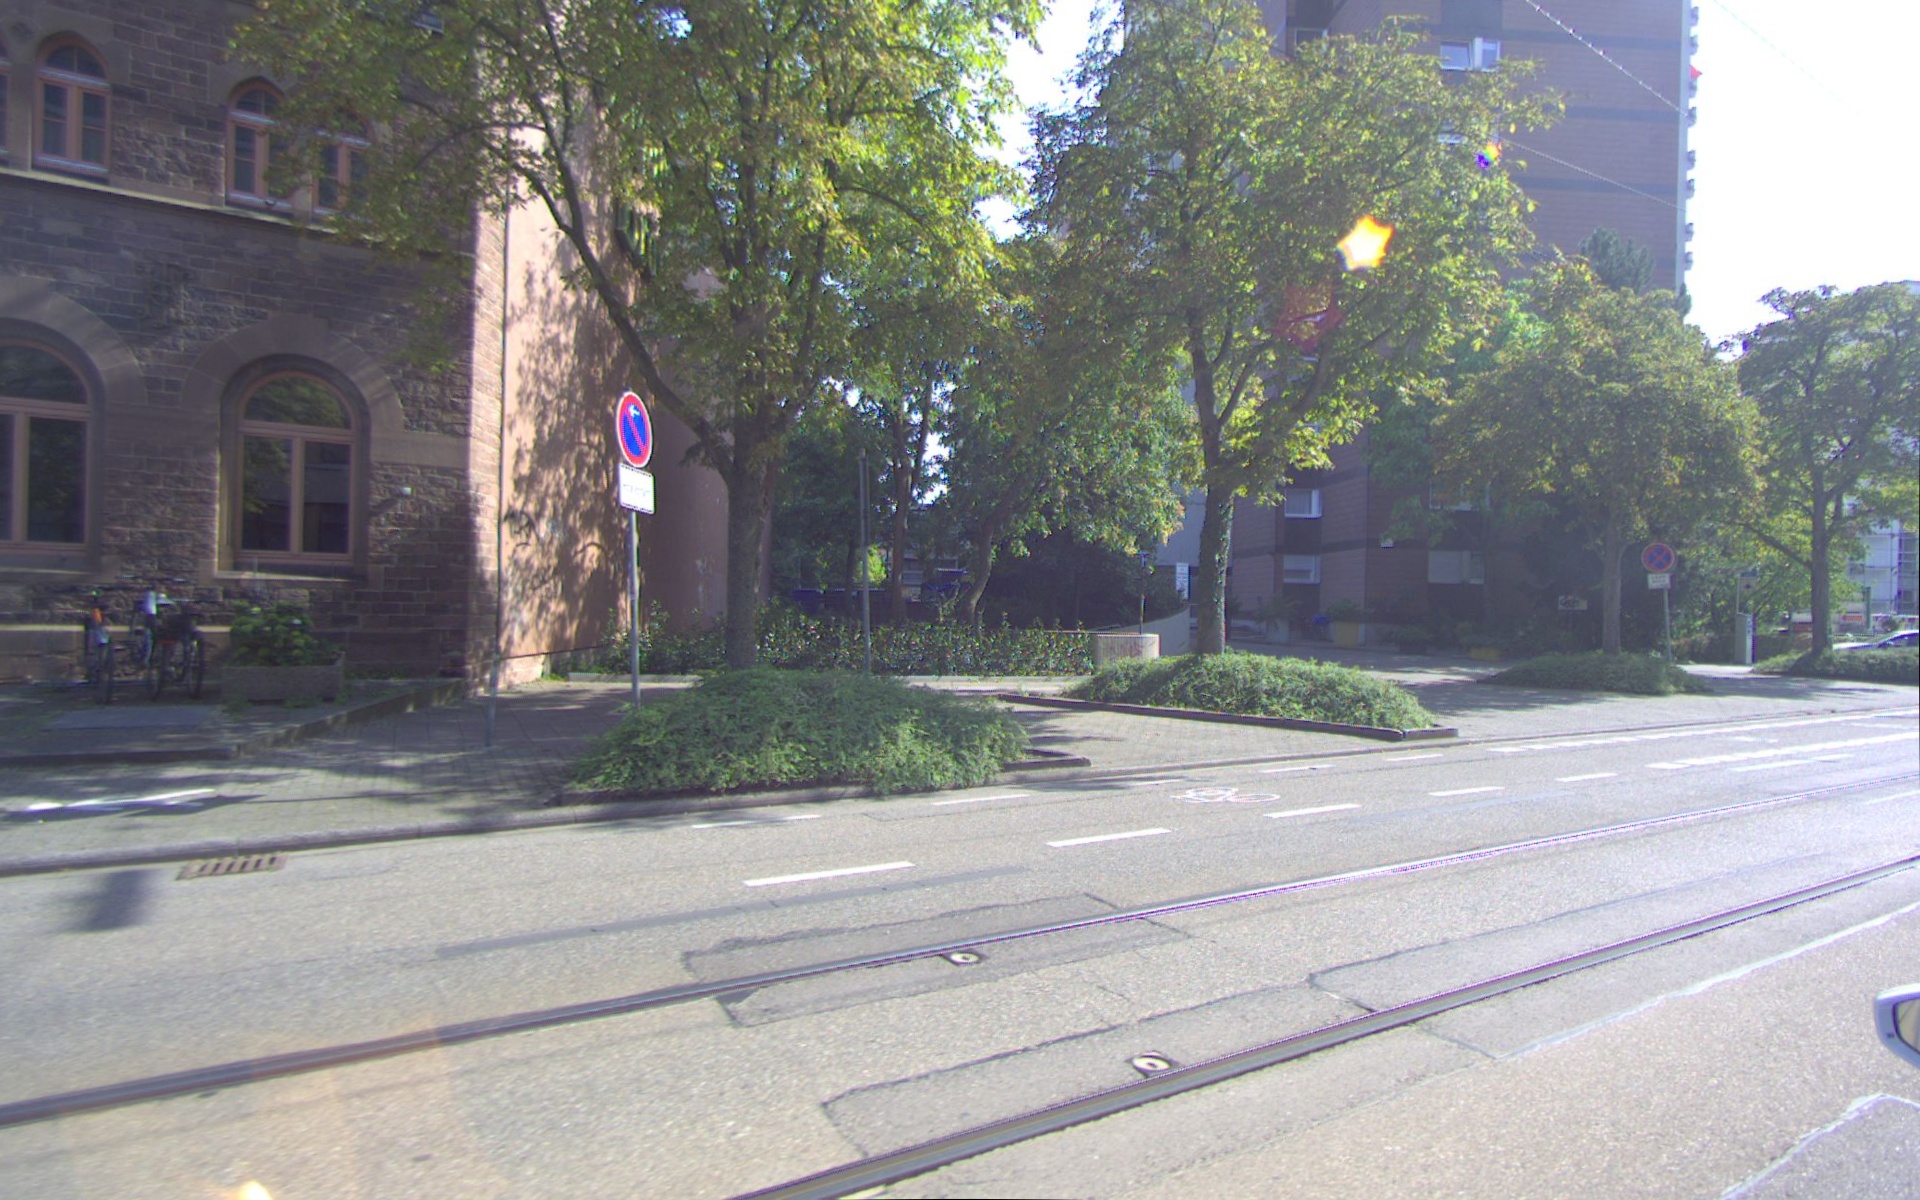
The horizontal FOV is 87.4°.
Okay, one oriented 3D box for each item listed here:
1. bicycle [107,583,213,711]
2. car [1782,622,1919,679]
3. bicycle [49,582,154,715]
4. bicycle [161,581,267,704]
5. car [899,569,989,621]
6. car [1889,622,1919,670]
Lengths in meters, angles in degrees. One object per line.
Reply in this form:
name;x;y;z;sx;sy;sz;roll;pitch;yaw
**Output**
bicycle;-8.270;0.452;10.353;1.780;1.088;0.419;7;3;38
car;26.820;1.468;29.436;3.929;1.499;1.785;1;0;30
bicycle;-8.536;0.440;9.966;1.780;1.088;0.419;7;3;38
bicycle;-7.986;0.420;10.721;1.780;1.088;0.419;7;3;38
car;-0.909;-0.262;54.119;2.005;2.631;5.150;2;-1;-40
car;32.712;1.559;32.545;3.585;1.535;1.616;3;1;35
